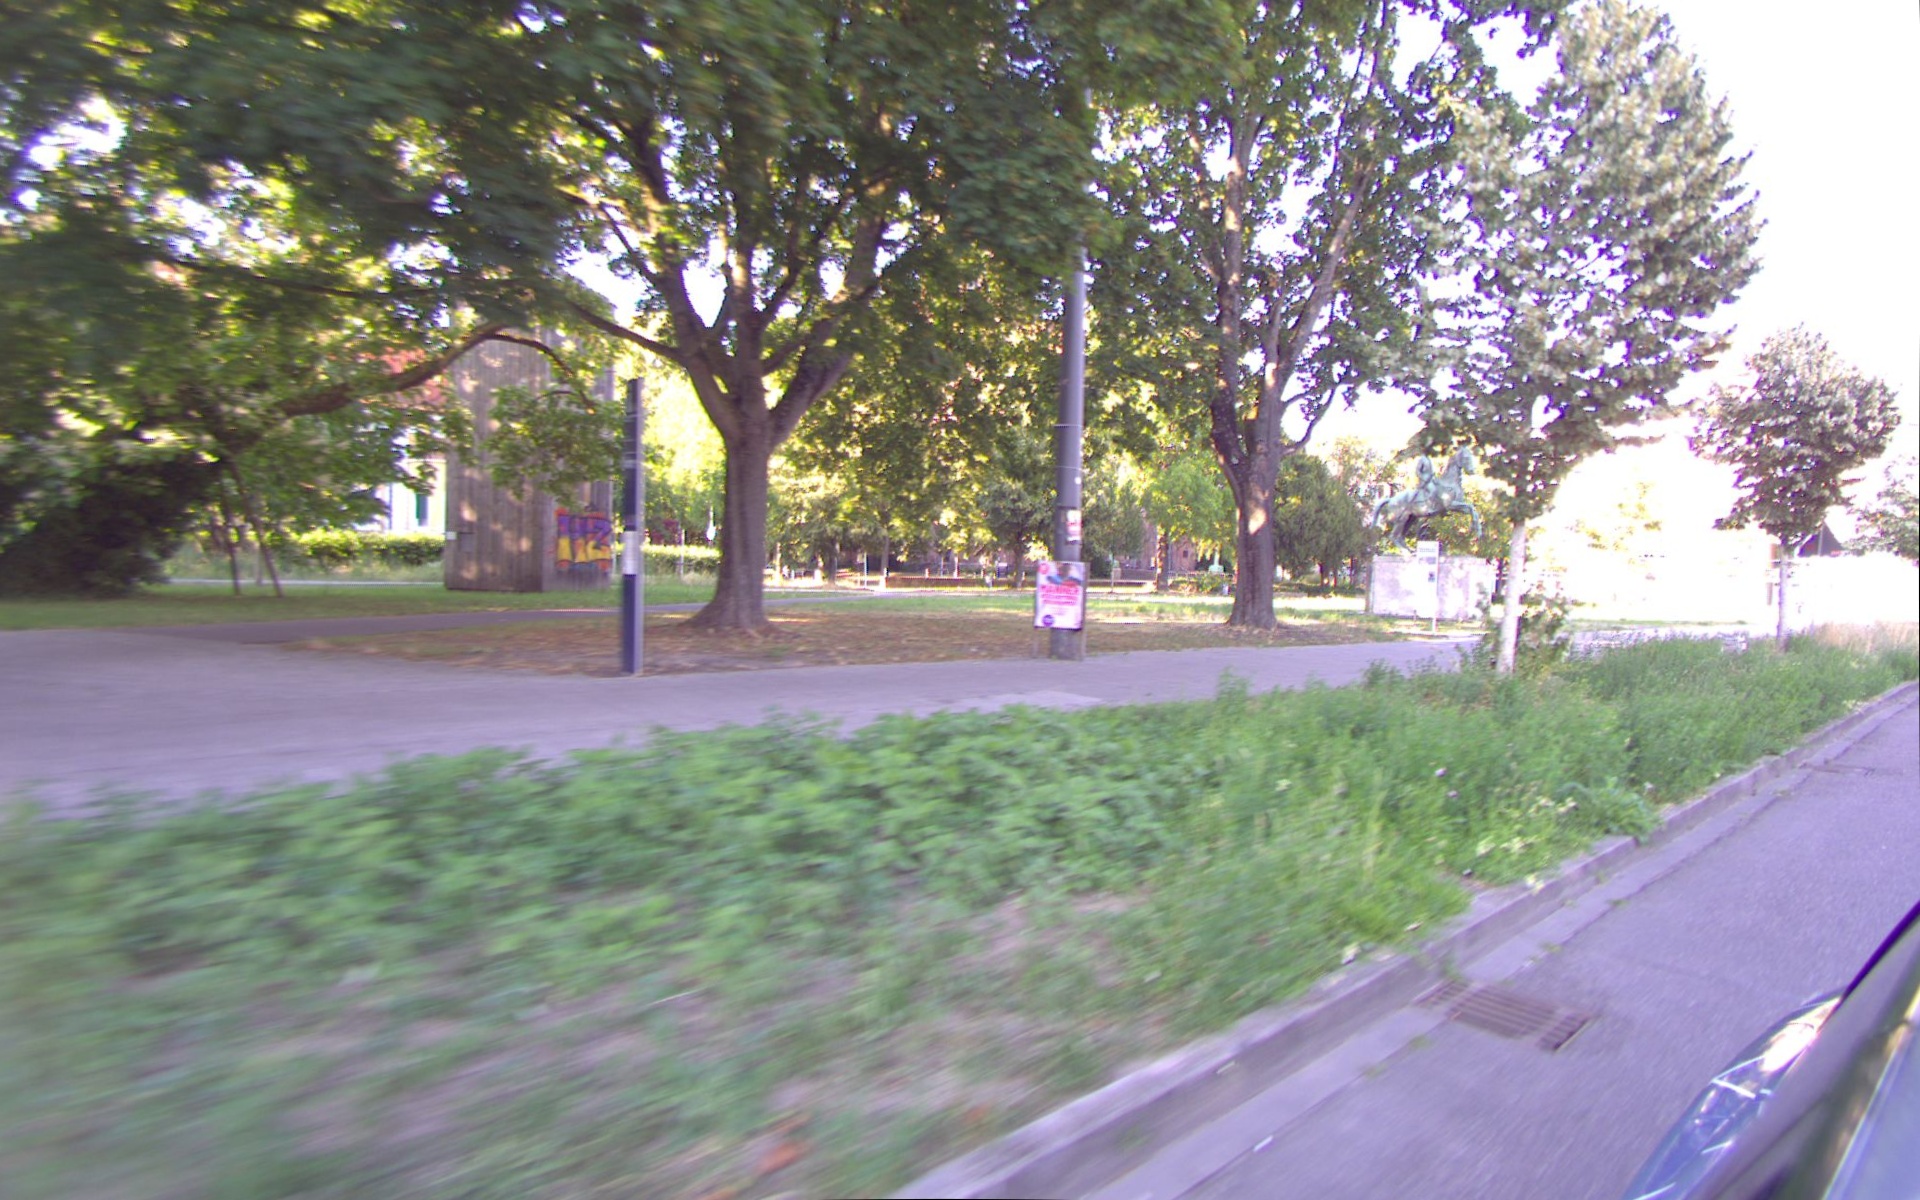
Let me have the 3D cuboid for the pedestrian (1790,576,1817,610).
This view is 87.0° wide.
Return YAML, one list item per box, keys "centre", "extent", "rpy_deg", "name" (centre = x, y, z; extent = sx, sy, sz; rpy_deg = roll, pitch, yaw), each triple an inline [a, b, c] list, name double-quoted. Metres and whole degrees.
- centre: [42.822, -0.371, 51.362]
  extent: [0.899, 1.669, 0.741]
  rpy_deg: [1, 4, -37]
  name: "pedestrian"

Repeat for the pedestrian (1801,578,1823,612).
- centre: [43.792, -0.243, 52.009]
  extent: [0.767, 1.709, 0.599]
  rpy_deg: [1, 3, -37]
  name: "pedestrian"

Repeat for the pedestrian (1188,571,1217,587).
- centre: [16.238, -1.401, 67.905]
  extent: [1.258, 1.006, 1.385]
  rpy_deg: [1, 2, -30]
  name: "pedestrian"

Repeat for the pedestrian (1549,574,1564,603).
- centre: [37.713, -0.725, 64.024]
  extent: [0.634, 1.760, 0.593]
  rpy_deg: [2, 1, 16]
  name: "pedestrian"

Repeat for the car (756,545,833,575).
- centre: [-10.445, -2.516, 64.019]
  extent: [1.993, 1.739, 4.567]
  rpy_deg: [4, 3, 42]
  name: "car"

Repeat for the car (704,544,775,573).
- centre: [-14.142, -2.660, 65.093]
  extent: [4.087, 1.650, 1.869]
  rpy_deg: [0, 3, -43]
  name: "car"

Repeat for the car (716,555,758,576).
- centre: [-17.412, -2.706, 78.885]
  extent: [1.599, 1.528, 4.158]
  rpy_deg: [1, 2, -36]
  name: "car"

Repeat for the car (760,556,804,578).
- centre: [-13.163, -2.432, 74.678]
  extent: [1.568, 1.528, 4.157]
  rpy_deg: [0, 2, -36]
  name: "car"
